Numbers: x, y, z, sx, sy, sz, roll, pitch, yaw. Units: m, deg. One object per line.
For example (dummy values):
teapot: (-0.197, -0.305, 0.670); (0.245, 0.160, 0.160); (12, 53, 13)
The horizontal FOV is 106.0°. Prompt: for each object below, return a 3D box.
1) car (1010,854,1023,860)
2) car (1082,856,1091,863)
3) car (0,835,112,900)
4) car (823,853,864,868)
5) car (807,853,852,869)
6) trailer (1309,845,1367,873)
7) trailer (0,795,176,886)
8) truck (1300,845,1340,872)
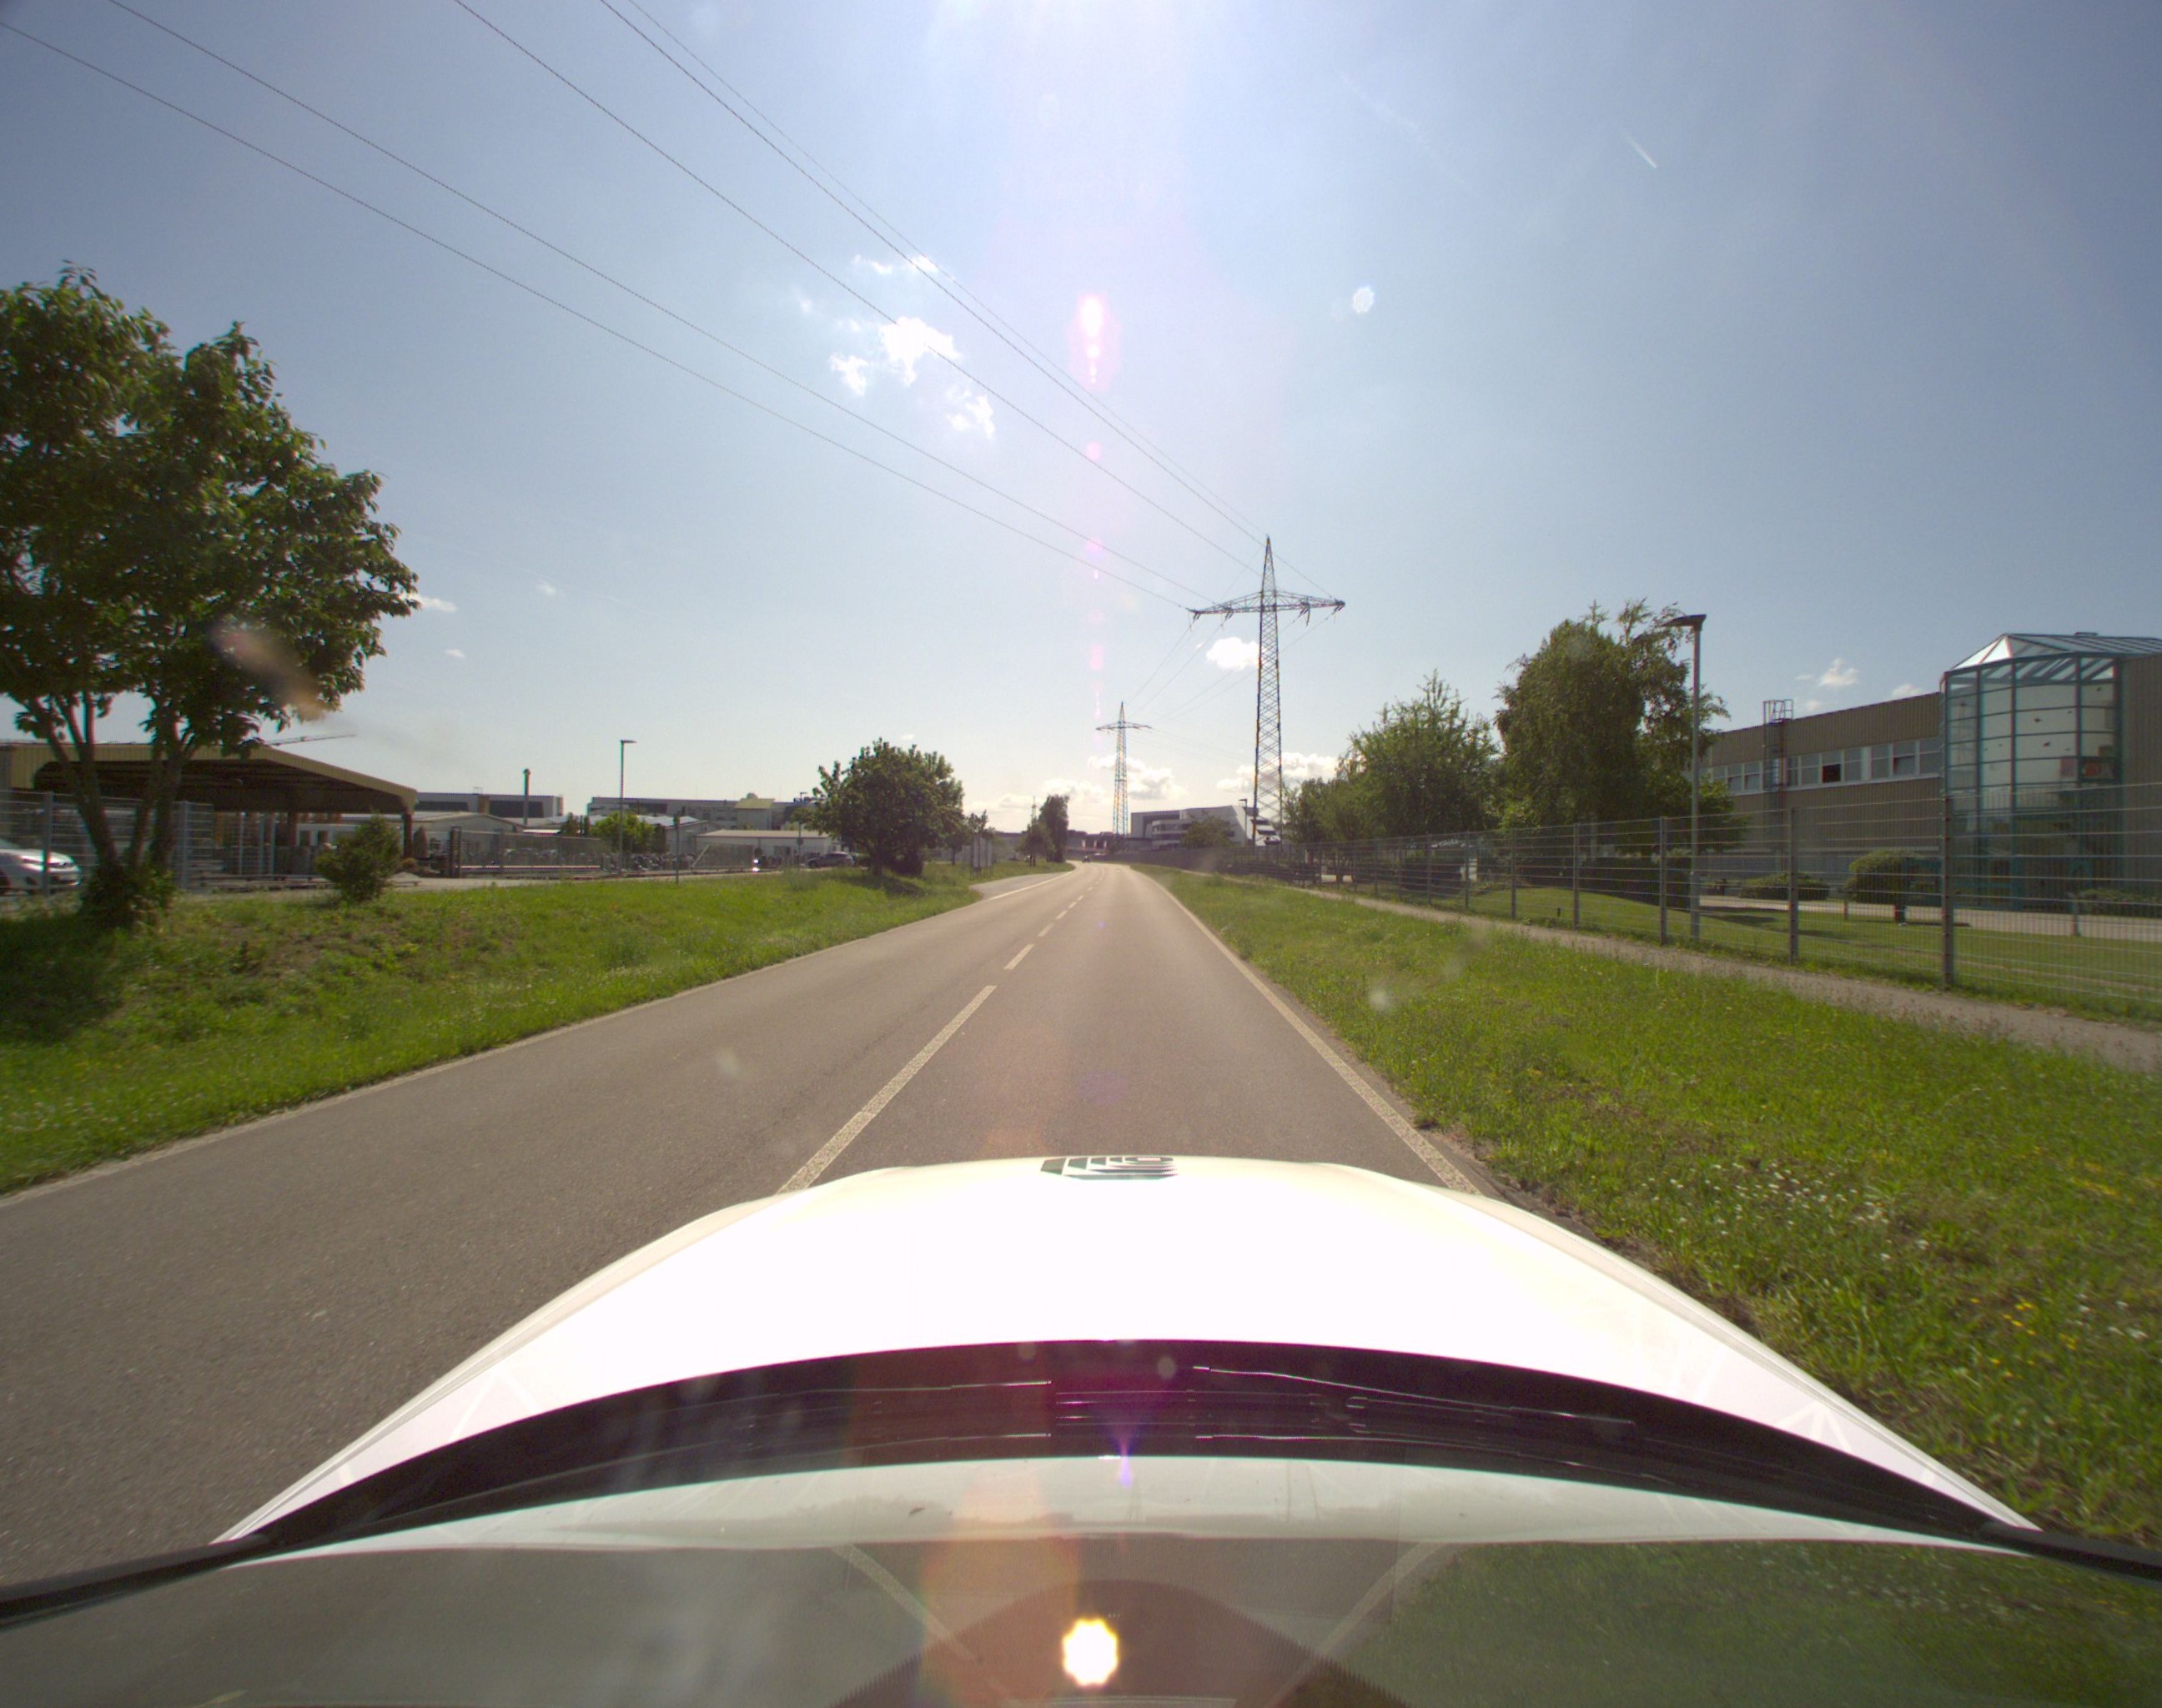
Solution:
car: (-20.104, 1.011, 253.817); (3.981, 1.574, 1.996); (2, 0, -6)
car: (1.389, 1.390, 198.610); (2.006, 1.508, 3.998); (-1, -1, -1)
car: (-23.213, 0.239, 16.598); (4.012, 1.310, 1.924); (1, 0, -31)
car: (-25.955, 0.741, 88.918); (3.979, 1.555, 1.663); (1, 0, -4)
car: (-26.072, 0.750, 84.512); (3.979, 1.528, 1.997); (1, 0, -4)
trailer: (36.320, 0.683, 115.687); (3.584, 3.735, 12.219); (0, 0, -4)
trailer: (-34.374, -0.445, 26.859); (5.553, 2.825, 2.736); (1, 0, -5)
truck: (35.857, 0.624, 122.397); (3.590, 3.867, 6.394); (-1, 0, -6)
